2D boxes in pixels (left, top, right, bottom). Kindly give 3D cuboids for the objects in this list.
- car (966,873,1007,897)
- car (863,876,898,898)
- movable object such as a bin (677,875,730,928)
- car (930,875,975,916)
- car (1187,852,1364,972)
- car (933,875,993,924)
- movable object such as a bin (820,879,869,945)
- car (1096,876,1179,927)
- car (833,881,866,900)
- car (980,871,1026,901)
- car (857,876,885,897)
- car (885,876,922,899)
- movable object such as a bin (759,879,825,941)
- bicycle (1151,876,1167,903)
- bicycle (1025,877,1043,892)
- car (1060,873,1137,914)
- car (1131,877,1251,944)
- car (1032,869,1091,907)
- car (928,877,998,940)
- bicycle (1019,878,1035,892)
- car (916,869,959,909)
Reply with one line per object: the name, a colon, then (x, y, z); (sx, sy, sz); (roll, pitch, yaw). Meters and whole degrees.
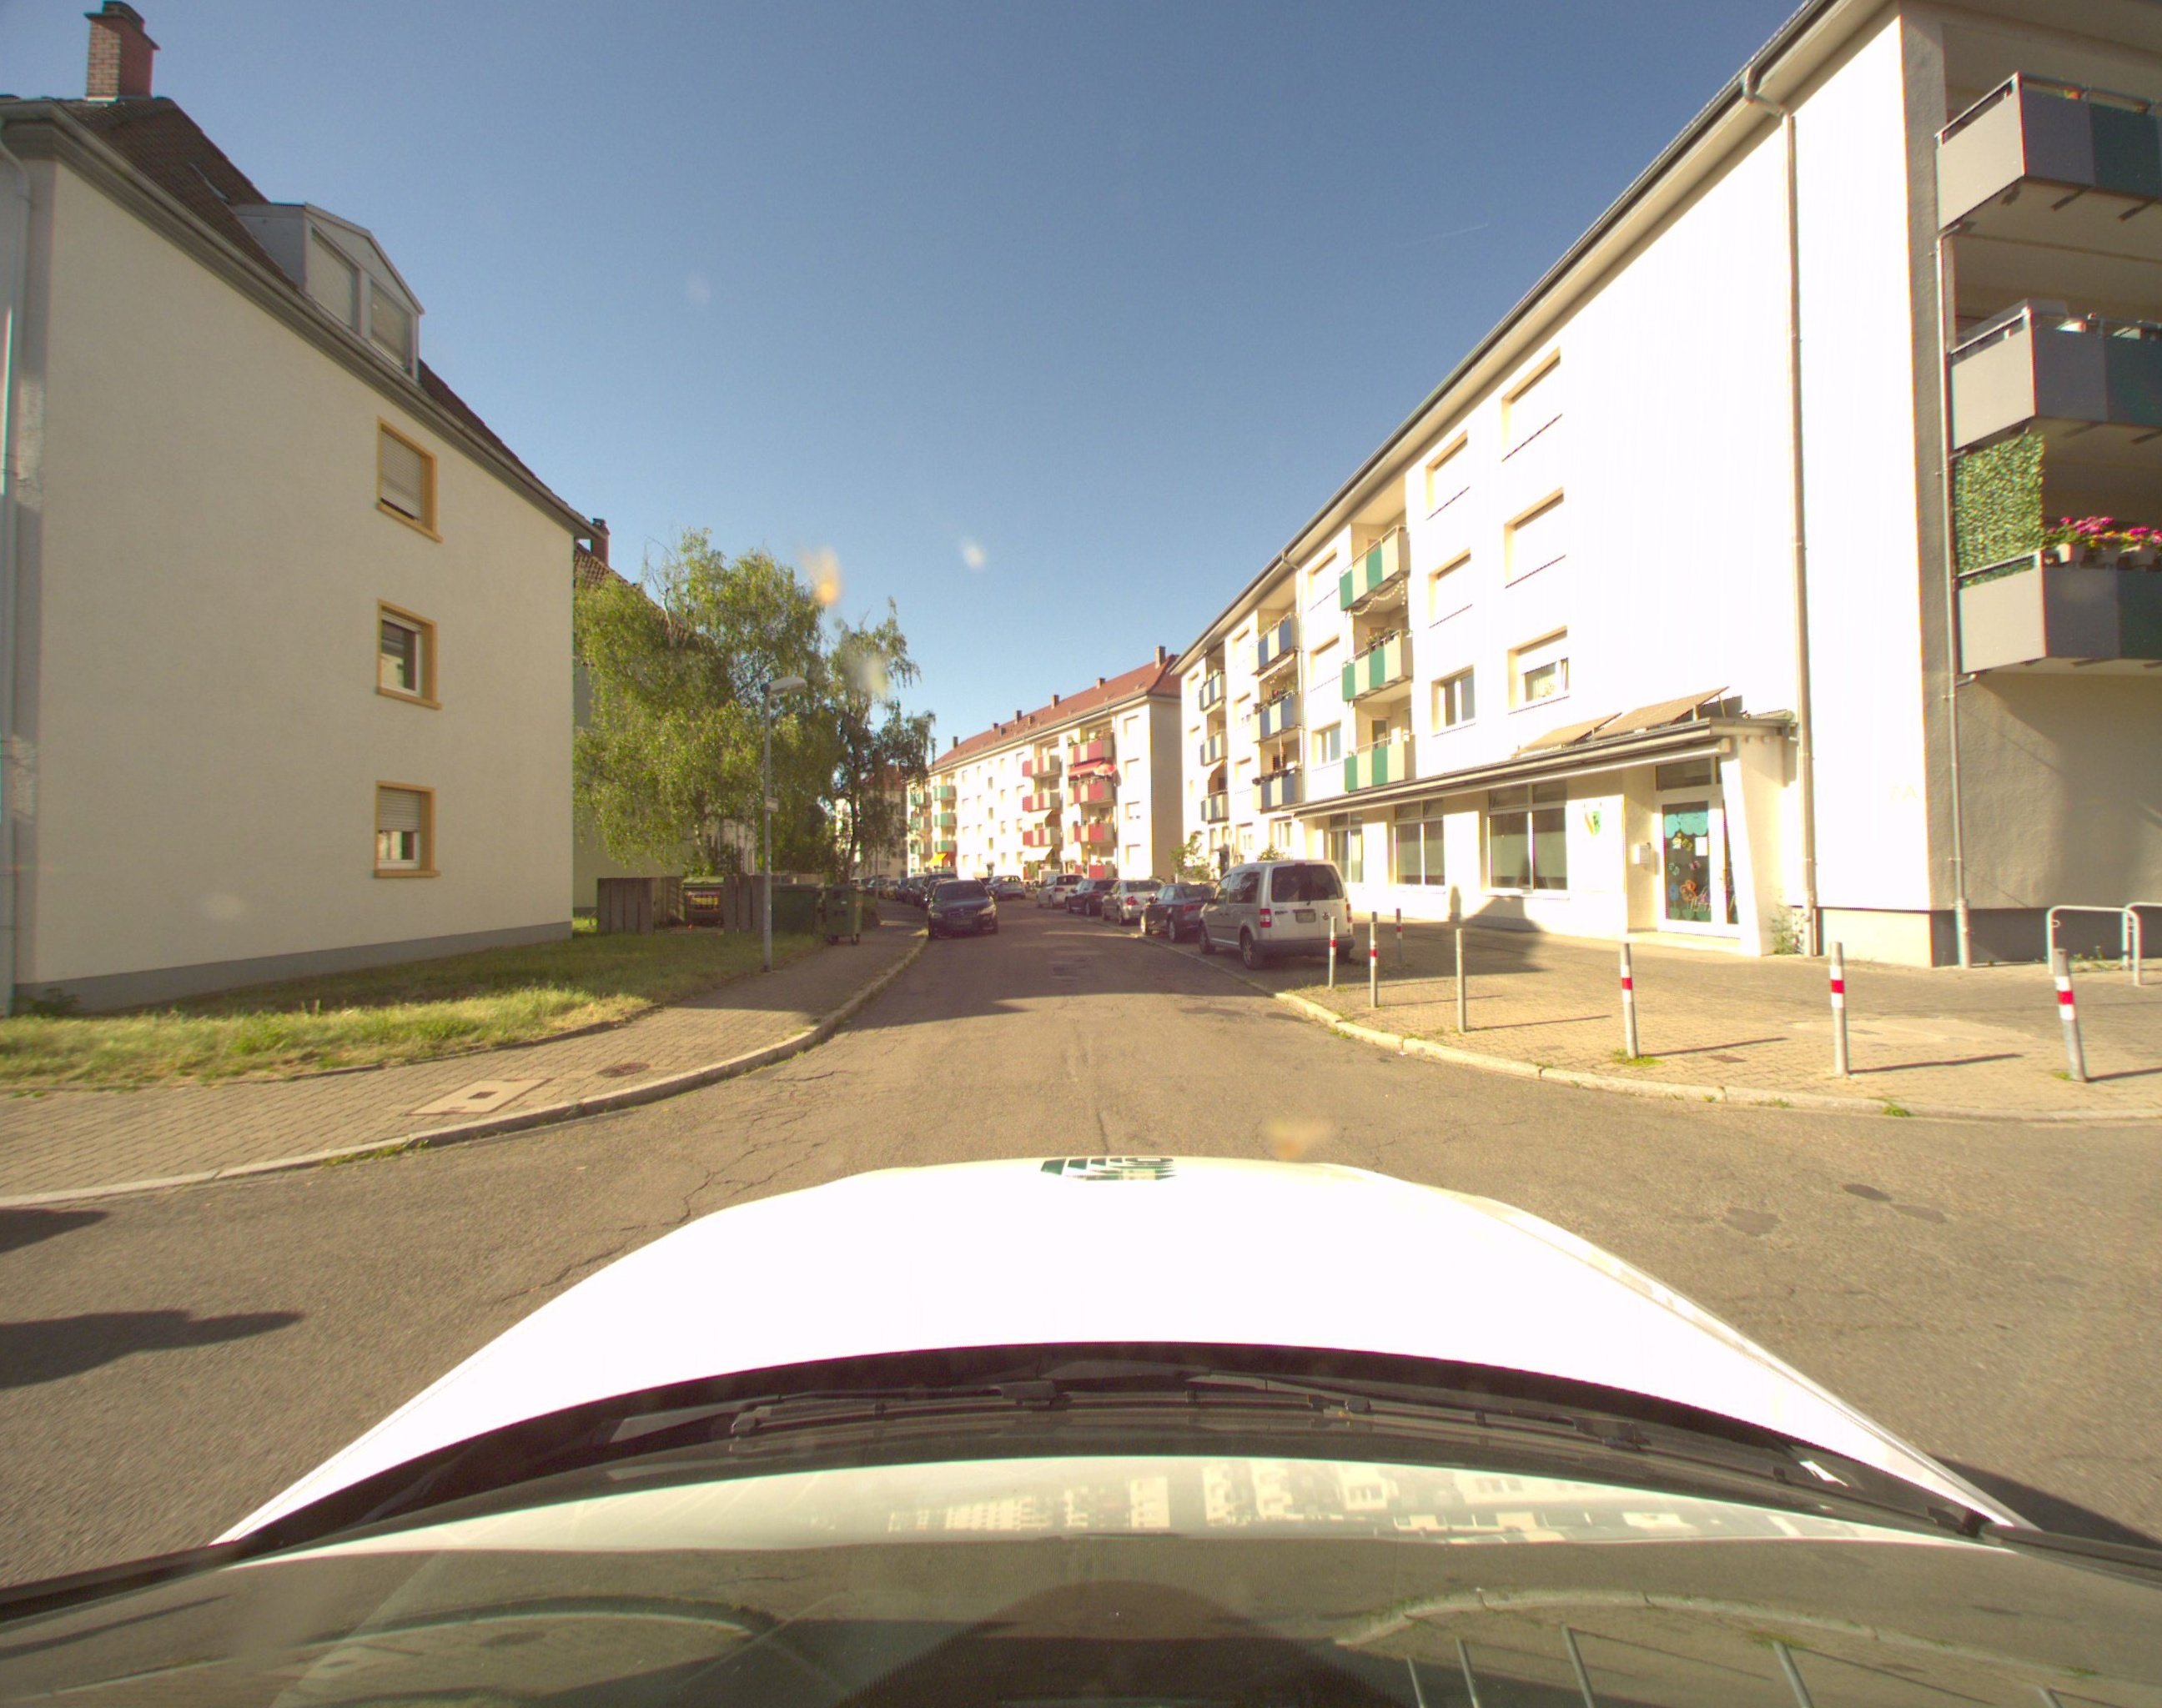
car: (-6.564, 2.094, 55.985); (1.743, 1.508, 3.855); (-3, 0, -23)
car: (-14.776, 2.422, 59.861); (1.577, 1.464, 4.225); (-2, 0, -26)
movable object such as a bin: (-10.872, 1.344, 23.471); (1.059, 1.435, 1.000); (-3, -1, -6)
car: (-5.322, 1.646, 33.373); (1.557, 1.442, 3.951); (-4, -1, -12)
car: (3.406, 0.967, 15.151); (1.746, 1.824, 4.120); (-3, -1, -8)
car: (-4.141, 1.516, 28.136); (1.679, 1.442, 4.262); (-4, -1, -12)
movable object such as a bin: (-5.323, 1.280, 18.401); (0.774, 1.393, 1.414); (-1, -1, -6)
car: (1.757, 1.483, 26.883); (1.678, 1.447, 4.708); (-1, -1, -9)
car: (-19.748, 3.066, 69.289); (1.753, 1.431, 4.556); (-3, 0, -28)
car: (-4.944, 1.984, 51.287); (1.773, 1.635, 4.011); (-3, 0, -22)
car: (-16.711, 2.591, 64.713); (1.486, 1.477, 3.601); (-4, 0, -25)
car: (-11.664, 2.139, 53.286); (1.701, 1.389, 4.125); (-1, -1, -22)
movable object such as a bin: (-6.585, 1.272, 18.615); (1.216, 1.380, 0.767); (0, -1, -1)
bicycle: (3.658, 1.643, 38.329); (0.513, 1.203, 1.760); (-3, -1, -2)
bicycle: (-3.472, 2.243, 60.437); (0.620, 0.978, 1.880); (-4, 2, -25)
car: (0.621, 1.557, 32.708); (1.698, 1.432, 4.660); (-2, -1, -17)
car: (2.637, 1.343, 20.723); (1.678, 1.407, 4.528); (-1, -1, -11)
car: (-1.004, 1.648, 39.231); (1.697, 1.656, 4.365); (-2, -2, -16)
car: (-3.312, 1.435, 22.930); (1.677, 1.453, 4.607); (-4, -1, -8)
bicycle: (-4.006, 2.287, 59.947); (0.500, 1.020, 1.826); (-2, -1, -26)
car: (-6.985, 1.641, 39.253); (1.558, 1.714, 4.314); (-4, -1, -15)
